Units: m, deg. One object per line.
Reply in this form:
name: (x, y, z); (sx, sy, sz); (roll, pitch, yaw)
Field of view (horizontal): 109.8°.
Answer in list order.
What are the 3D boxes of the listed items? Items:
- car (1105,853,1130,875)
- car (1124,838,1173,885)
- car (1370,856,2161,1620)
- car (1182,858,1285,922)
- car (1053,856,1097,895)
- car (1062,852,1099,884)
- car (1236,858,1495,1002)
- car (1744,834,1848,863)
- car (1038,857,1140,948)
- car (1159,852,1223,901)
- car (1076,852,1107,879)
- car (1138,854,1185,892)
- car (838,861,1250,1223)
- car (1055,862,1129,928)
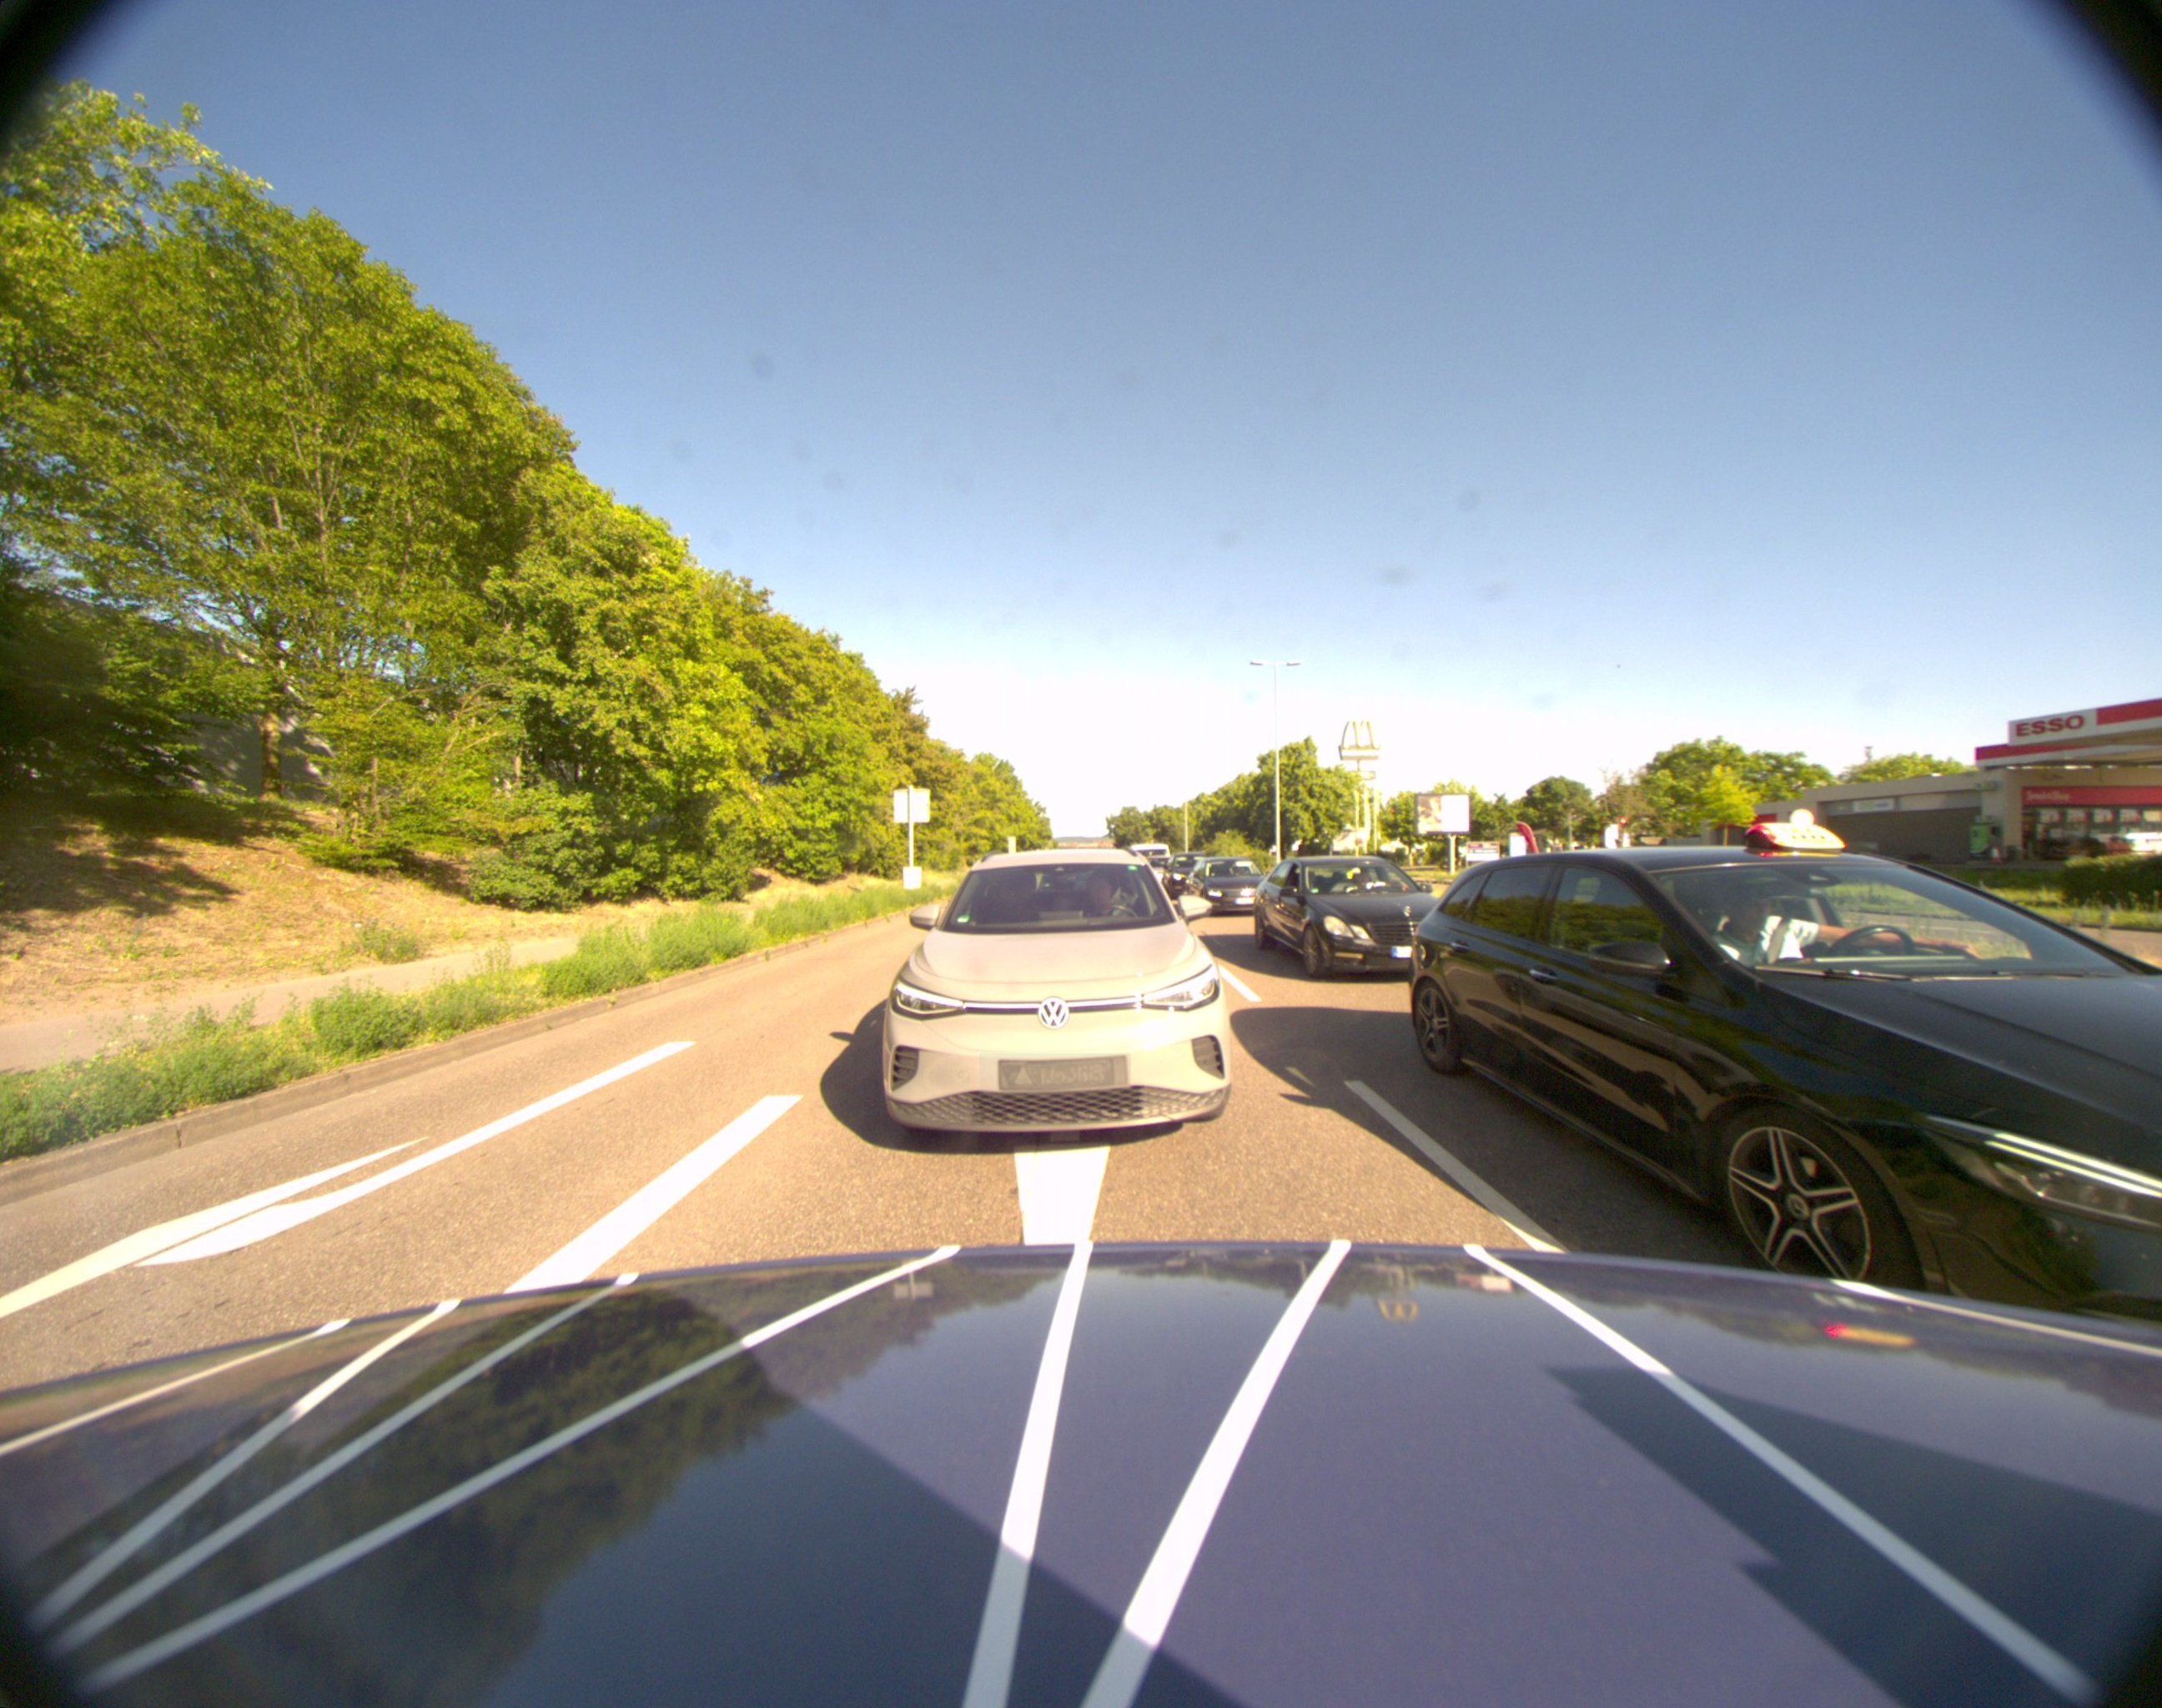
car: (2.938, 0.817, 62.117); (1.763, 1.607, 4.402); (-2, 1, 0)
car: (3.658, 0.385, 42.087); (2.019, 2.349, 6.523); (-2, 0, 0)
car: (3.121, 0.816, 3.618); (1.763, 1.482, 4.402); (-2, 1, 0)
car: (3.909, 0.859, 20.187); (1.797, 1.419, 4.287); (-2, 0, 0)
car: (-0.252, 0.881, 33.036); (1.763, 1.482, 4.402); (-2, 1, 0)
car: (-0.038, 0.713, 39.858); (1.763, 1.482, 4.402); (-2, 1, 0)
car: (3.559, 0.836, 10.487); (1.868, 1.430, 4.402); (-2, 1, 0)
car: (37.377, -0.285, 39.867); (1.682, 1.401, 3.978); (1, 1, 0)
car: (0.140, 0.872, 15.762); (1.763, 1.482, 4.402); (-2, 1, 0)
car: (3.909, 0.756, 27.478); (1.674, 1.607, 3.879); (-2, 0, 0)
car: (0.609, 0.691, 47.025); (1.763, 1.482, 4.402); (-2, 1, 0)
car: (3.578, 0.791, 34.168); (1.635, 1.547, 3.777); (-2, 0, 0)
car: (-0.177, 0.899, 5.745); (1.862, 1.573, 4.403); (-2, 0, 0)
car: (0.270, 1.039, 20.930); (1.763, 1.482, 4.402); (-2, 1, 0)
